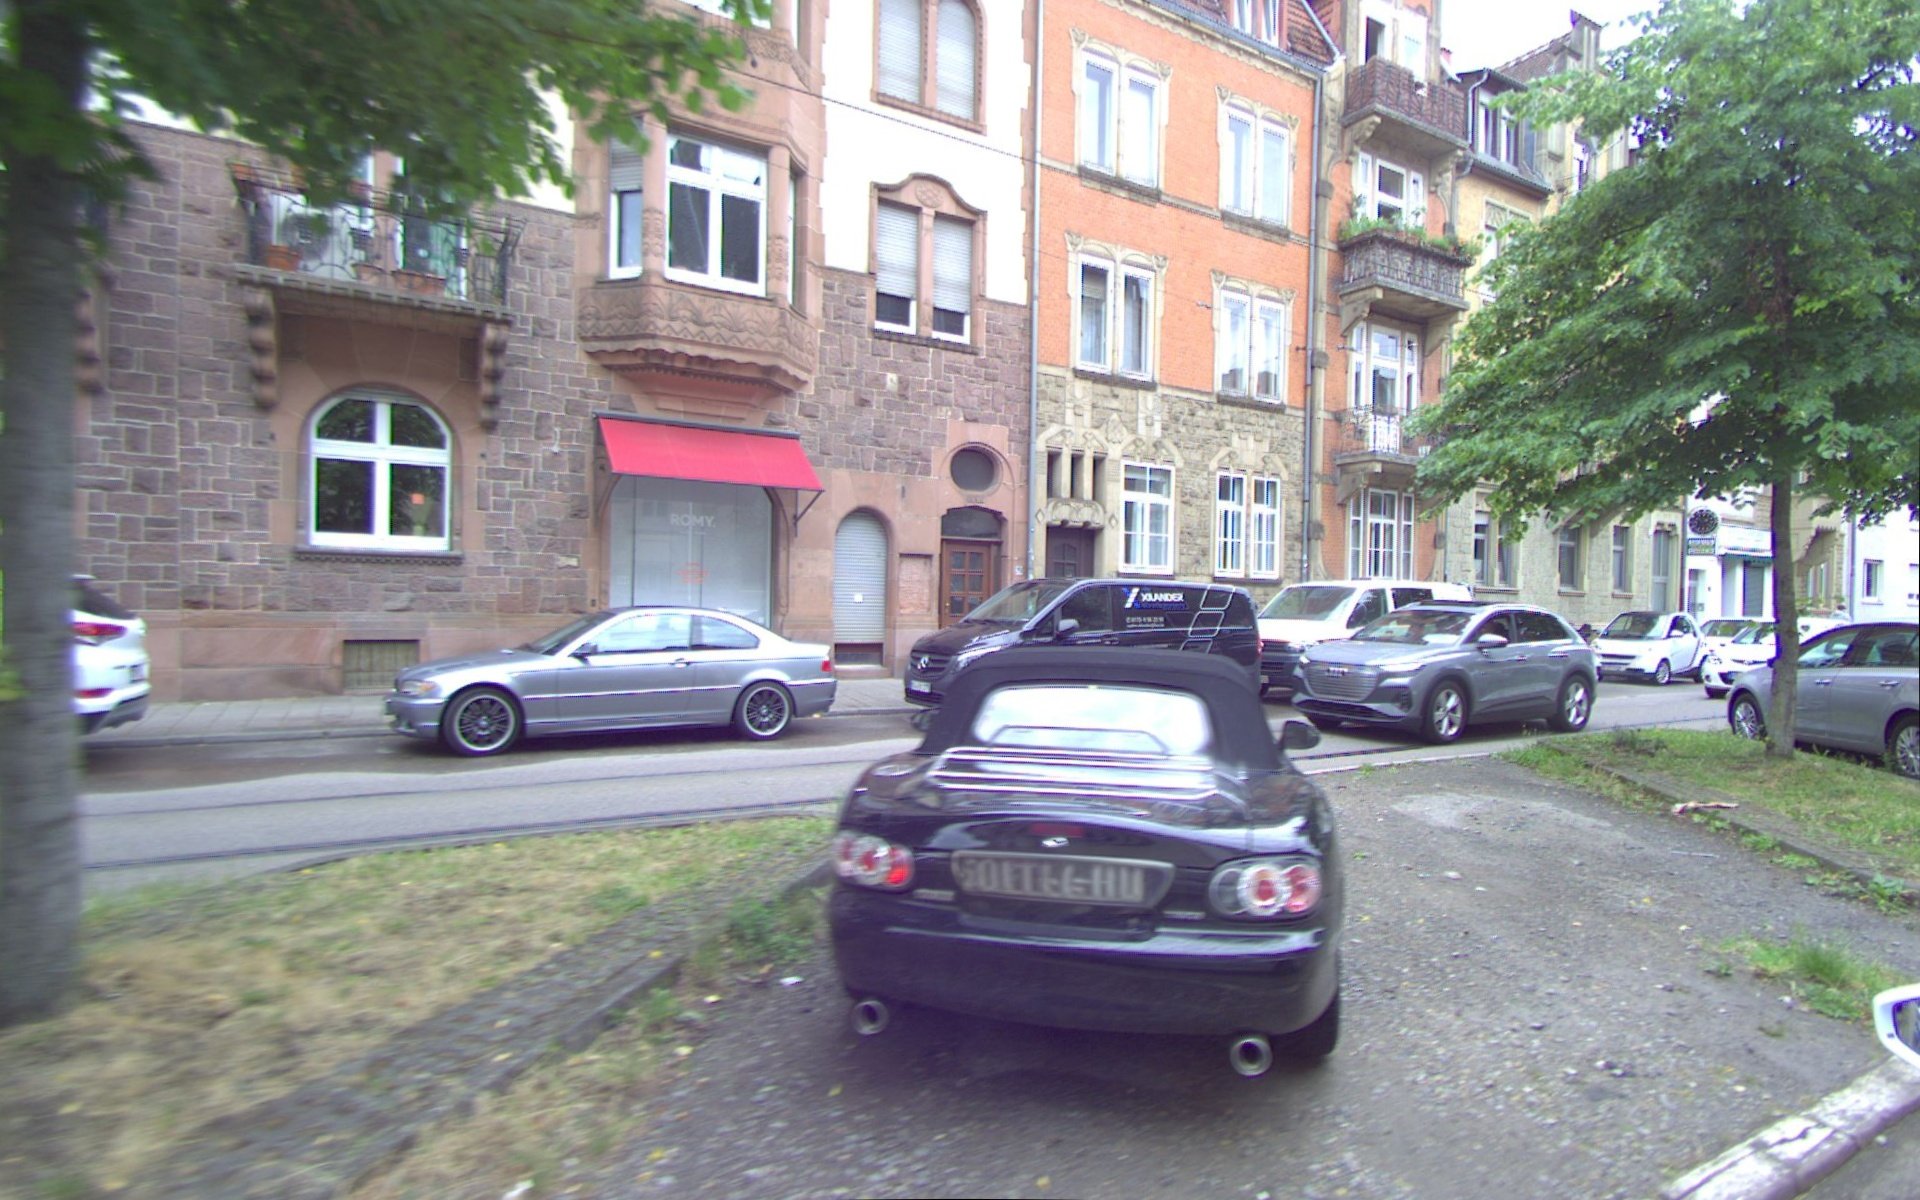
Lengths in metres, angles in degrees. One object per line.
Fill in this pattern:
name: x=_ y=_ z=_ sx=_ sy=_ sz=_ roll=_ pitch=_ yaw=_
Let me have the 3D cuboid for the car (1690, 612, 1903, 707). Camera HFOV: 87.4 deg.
car: x=15.464 y=1.052 z=18.508 sx=4.570 sy=1.524 sz=1.635 roll=2 pitch=0 yaw=-32

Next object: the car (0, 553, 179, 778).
car: x=-8.678 y=0.431 z=7.315 sx=4.503 sy=1.648 sz=1.731 roll=2 pitch=0 yaw=-32

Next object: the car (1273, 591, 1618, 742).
car: x=6.226 y=0.762 z=12.742 sx=4.496 sy=1.600 sz=1.795 roll=2 pitch=0 yaw=-32

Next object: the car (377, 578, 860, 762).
car: x=-3.454 y=0.631 z=10.473 sx=4.503 sy=1.562 sz=1.731 roll=2 pitch=0 yaw=-32

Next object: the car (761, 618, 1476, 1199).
car: x=0.750 y=0.753 z=4.289 sx=1.634 sy=1.218 sz=3.965 roll=1 pitch=1 yaw=13

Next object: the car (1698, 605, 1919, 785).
car: x=9.316 y=0.845 z=9.786 sx=1.760 sy=1.504 sz=4.120 roll=1 pitch=1 yaw=10

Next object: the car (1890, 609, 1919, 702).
car: x=15.689 y=0.898 z=13.860 sx=1.860 sy=1.454 sz=4.691 roll=1 pitch=0 yaw=9

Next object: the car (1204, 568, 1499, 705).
car: x=6.551 y=0.570 z=16.612 sx=5.037 sy=1.978 sz=1.871 roll=2 pitch=0 yaw=-32

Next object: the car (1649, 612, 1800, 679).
car: x=18.413 y=1.055 z=24.154 sx=3.880 sy=1.462 sz=1.625 roll=1 pitch=1 yaw=-32

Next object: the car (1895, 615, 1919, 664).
car: x=31.284 y=1.254 z=31.611 sx=4.520 sy=1.462 sz=1.625 roll=1 pitch=1 yaw=-32

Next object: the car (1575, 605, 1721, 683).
car: x=15.125 y=0.931 z=22.071 sx=2.918 sy=1.571 sz=1.625 roll=1 pitch=1 yaw=-32

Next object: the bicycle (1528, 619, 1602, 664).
bicycle: x=15.523 y=1.039 z=25.762 sx=2.235 sy=1.087 sz=0.706 roll=1 pitch=1 yaw=-33

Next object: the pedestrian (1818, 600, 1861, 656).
pedestrian: x=28.584 y=0.894 z=32.657 sx=0.890 sy=1.790 sz=0.793 roll=1 pitch=0 yaw=-32

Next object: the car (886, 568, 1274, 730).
car: x=1.695 y=0.586 z=13.271 sx=5.060 sy=1.805 sz=1.804 roll=2 pitch=0 yaw=-32
